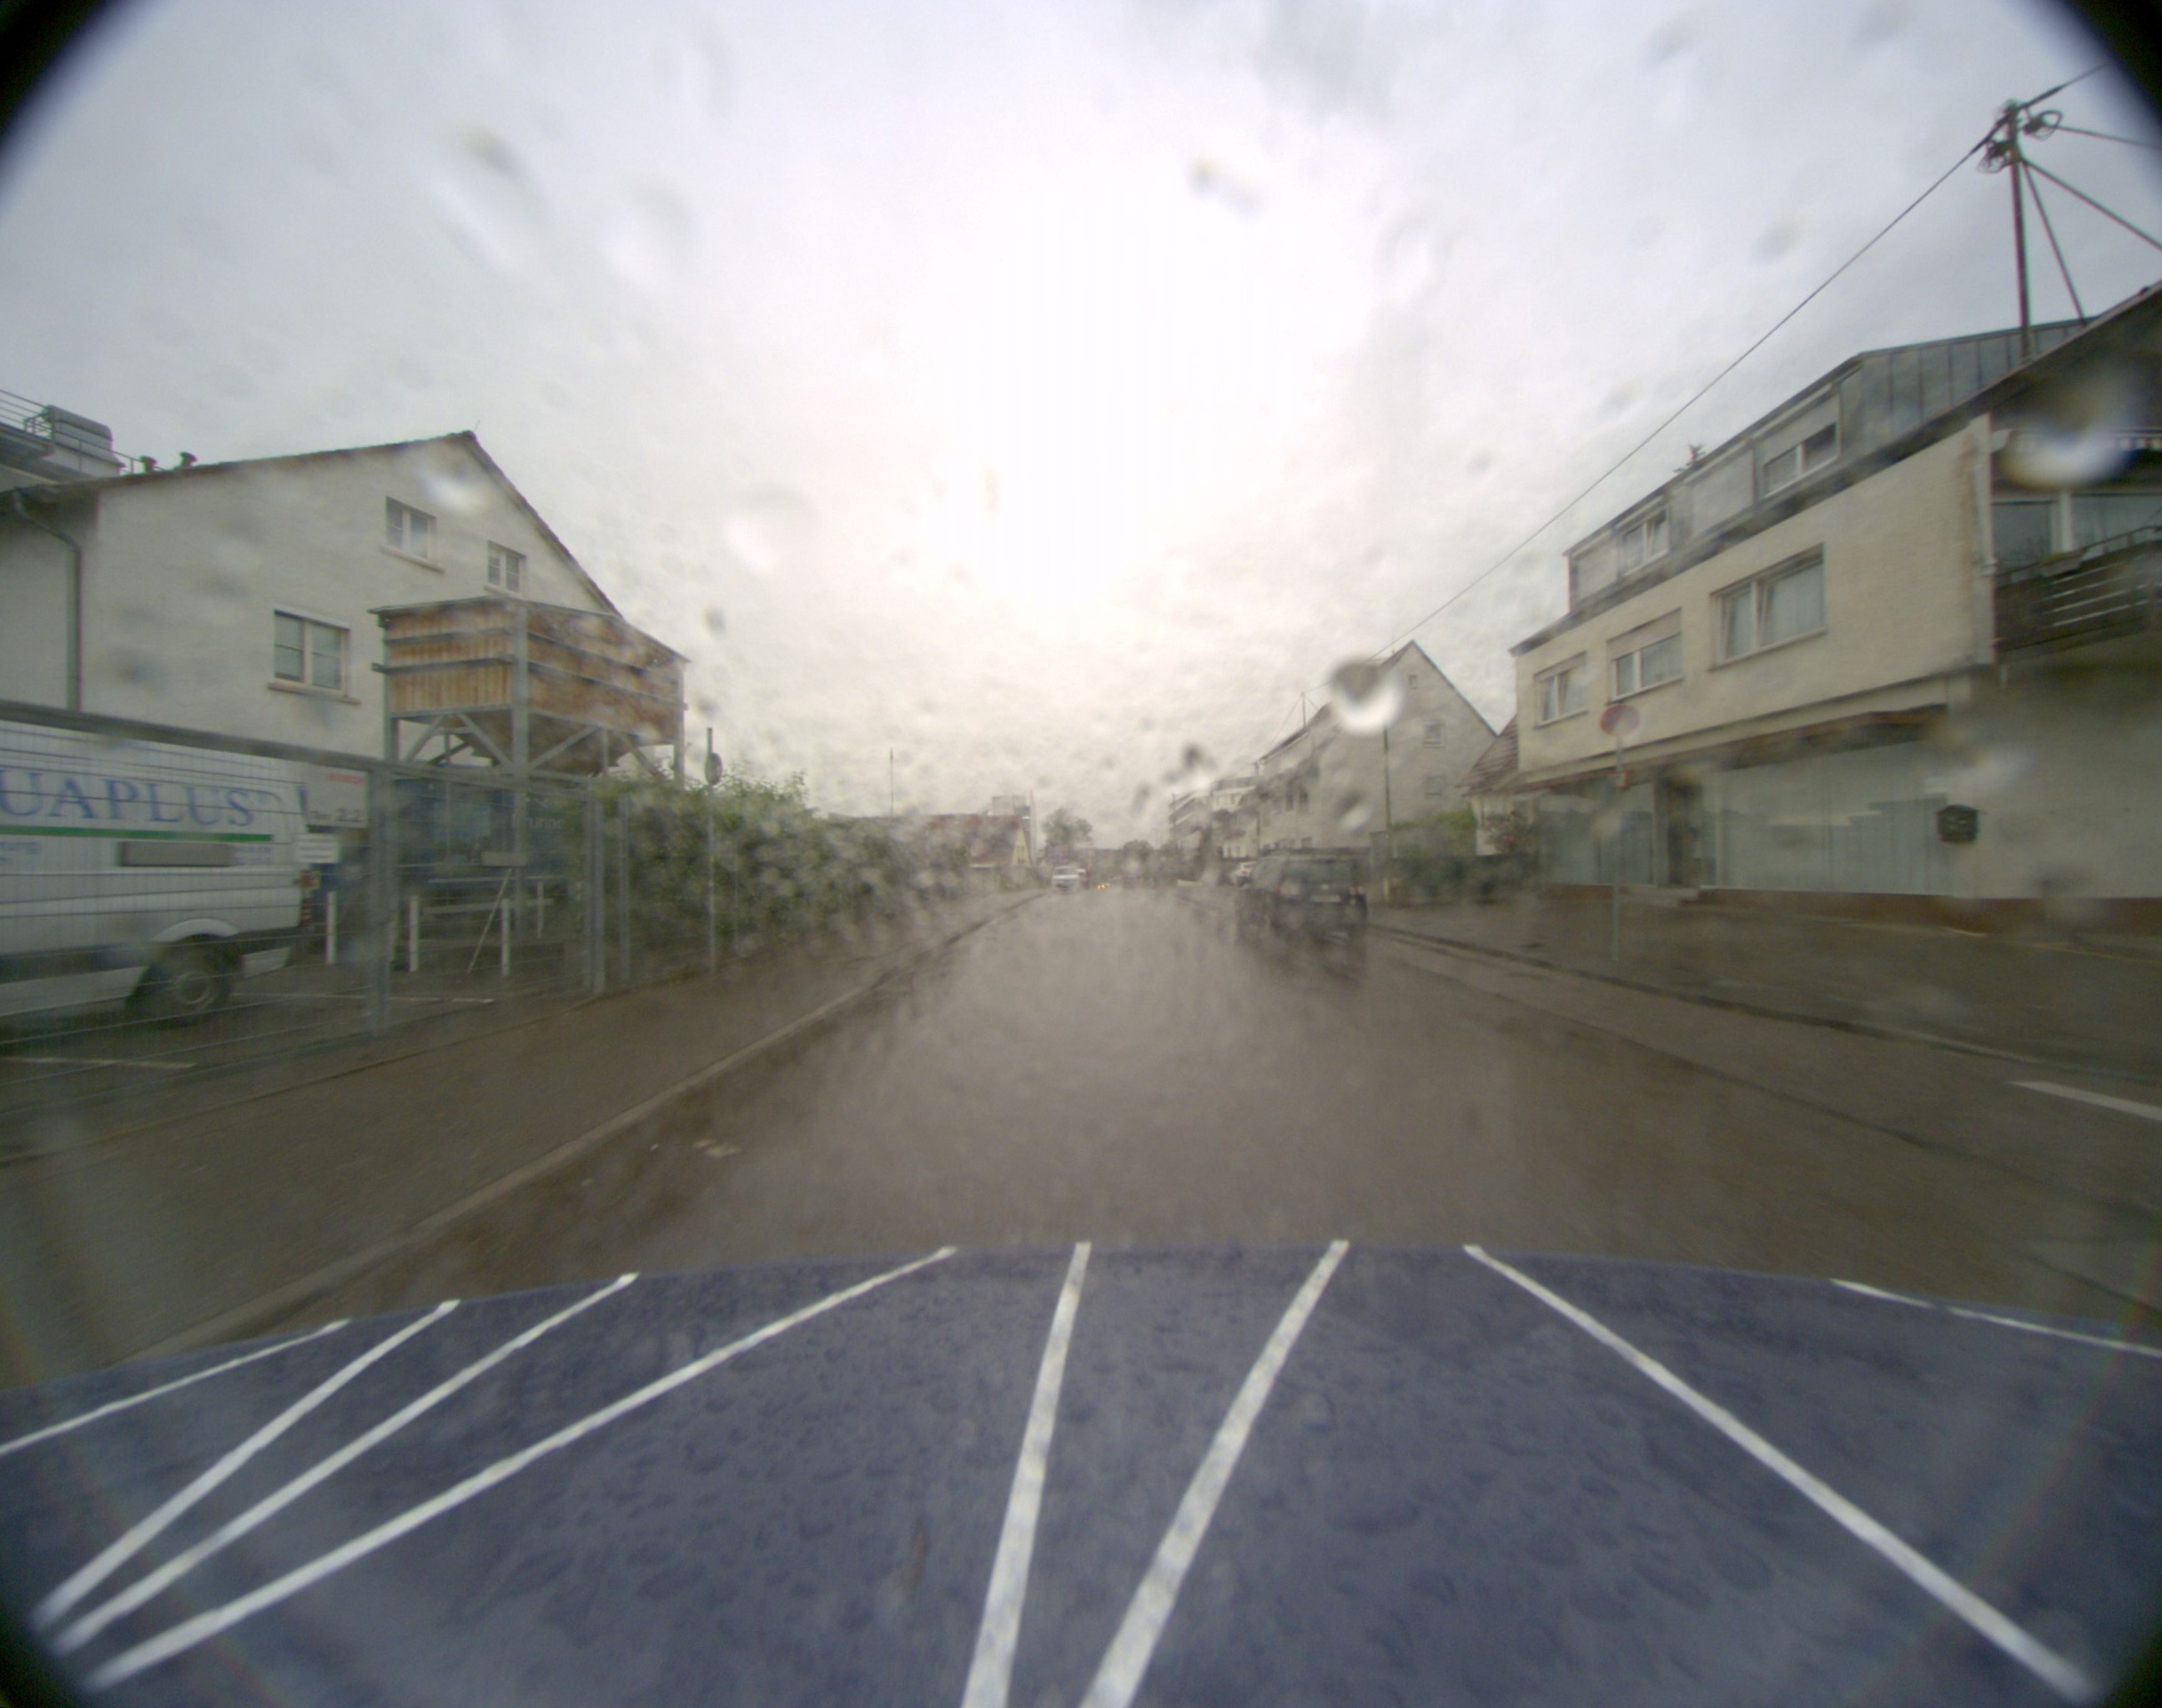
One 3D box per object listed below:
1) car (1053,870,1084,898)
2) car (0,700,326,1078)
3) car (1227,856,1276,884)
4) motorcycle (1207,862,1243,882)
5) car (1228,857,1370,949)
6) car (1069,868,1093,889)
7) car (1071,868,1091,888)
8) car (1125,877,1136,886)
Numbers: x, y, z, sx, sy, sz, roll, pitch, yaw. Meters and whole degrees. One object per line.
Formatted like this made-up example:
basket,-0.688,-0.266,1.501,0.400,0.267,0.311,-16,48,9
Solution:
car,-0.716,1.790,45.513,1.685,1.548,3.676,-2,-2,1
car,-8.586,0.223,4.812,1.999,2.668,5.950,1,-1,-5
car,10.494,1.017,47.151,1.998,1.501,4.897,-4,-2,2
motorcycle,10.258,1.282,54.122,2.368,1.265,0.736,-4,-1,2
car,4.085,0.840,14.876,1.680,1.519,4.000,-1,0,1
car,0.058,1.991,62.223,1.646,1.565,4.646,-2,-2,3
car,0.031,2.239,70.994,1.773,1.814,4.576,-2,-2,1
car,9.213,5.136,141.258,1.841,1.695,4.326,-1,-2,4
